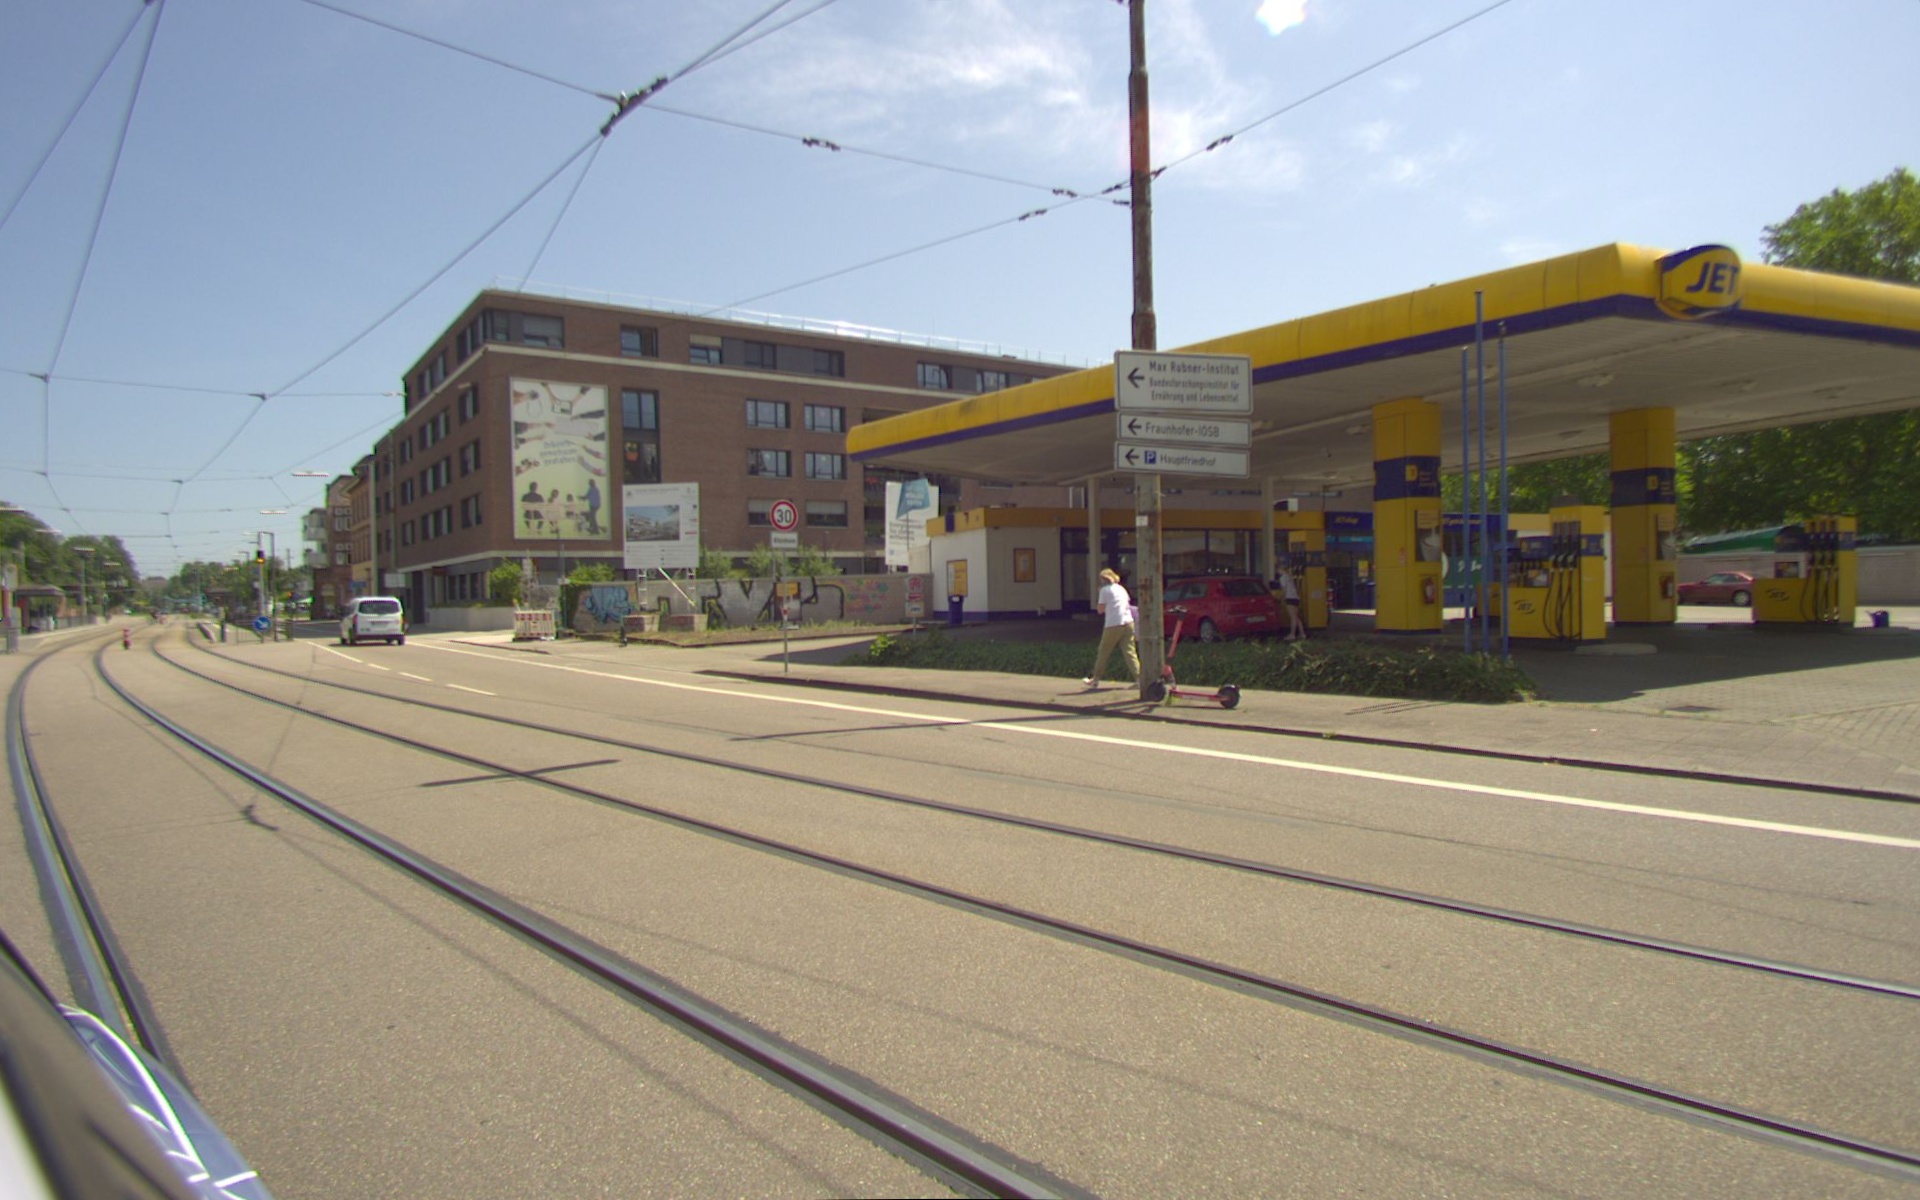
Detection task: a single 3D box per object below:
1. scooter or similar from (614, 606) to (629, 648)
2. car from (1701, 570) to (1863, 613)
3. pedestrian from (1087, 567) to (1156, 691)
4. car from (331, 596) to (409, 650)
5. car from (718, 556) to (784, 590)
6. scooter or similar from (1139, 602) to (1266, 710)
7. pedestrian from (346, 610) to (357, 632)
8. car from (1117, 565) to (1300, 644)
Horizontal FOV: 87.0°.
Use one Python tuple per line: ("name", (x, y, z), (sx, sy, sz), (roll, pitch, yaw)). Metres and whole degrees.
("scooter or similar", (-10.813, 0.857, 32.293), (0.340, 1.274, 1.246), (-3, 1, -21))
("car", (29.476, -0.300, 36.444), (1.690, 1.420, 4.254), (-2, 1, -19))
("pedestrian", (2.309, 0.400, 14.487), (0.617, 1.704, 0.723), (-2, 0, -41))
("car", (-22.570, 0.815, 38.657), (1.968, 1.812, 4.563), (-3, 2, -37))
("car", (-10.214, -1.288, 49.270), (1.708, 1.479, 4.011), (-3, 1, -33))
("scooter or similar", (2.896, 0.649, 12.167), (1.376, 1.209, 0.513), (-1, 1, 42))
("pedestrian", (-46.871, 1.614, 77.965), (0.595, 1.608, 0.716), (-1, 0, -40))
("car", (5.442, 0.125, 22.764), (1.800, 1.516, 4.213), (-4, 0, -22))
